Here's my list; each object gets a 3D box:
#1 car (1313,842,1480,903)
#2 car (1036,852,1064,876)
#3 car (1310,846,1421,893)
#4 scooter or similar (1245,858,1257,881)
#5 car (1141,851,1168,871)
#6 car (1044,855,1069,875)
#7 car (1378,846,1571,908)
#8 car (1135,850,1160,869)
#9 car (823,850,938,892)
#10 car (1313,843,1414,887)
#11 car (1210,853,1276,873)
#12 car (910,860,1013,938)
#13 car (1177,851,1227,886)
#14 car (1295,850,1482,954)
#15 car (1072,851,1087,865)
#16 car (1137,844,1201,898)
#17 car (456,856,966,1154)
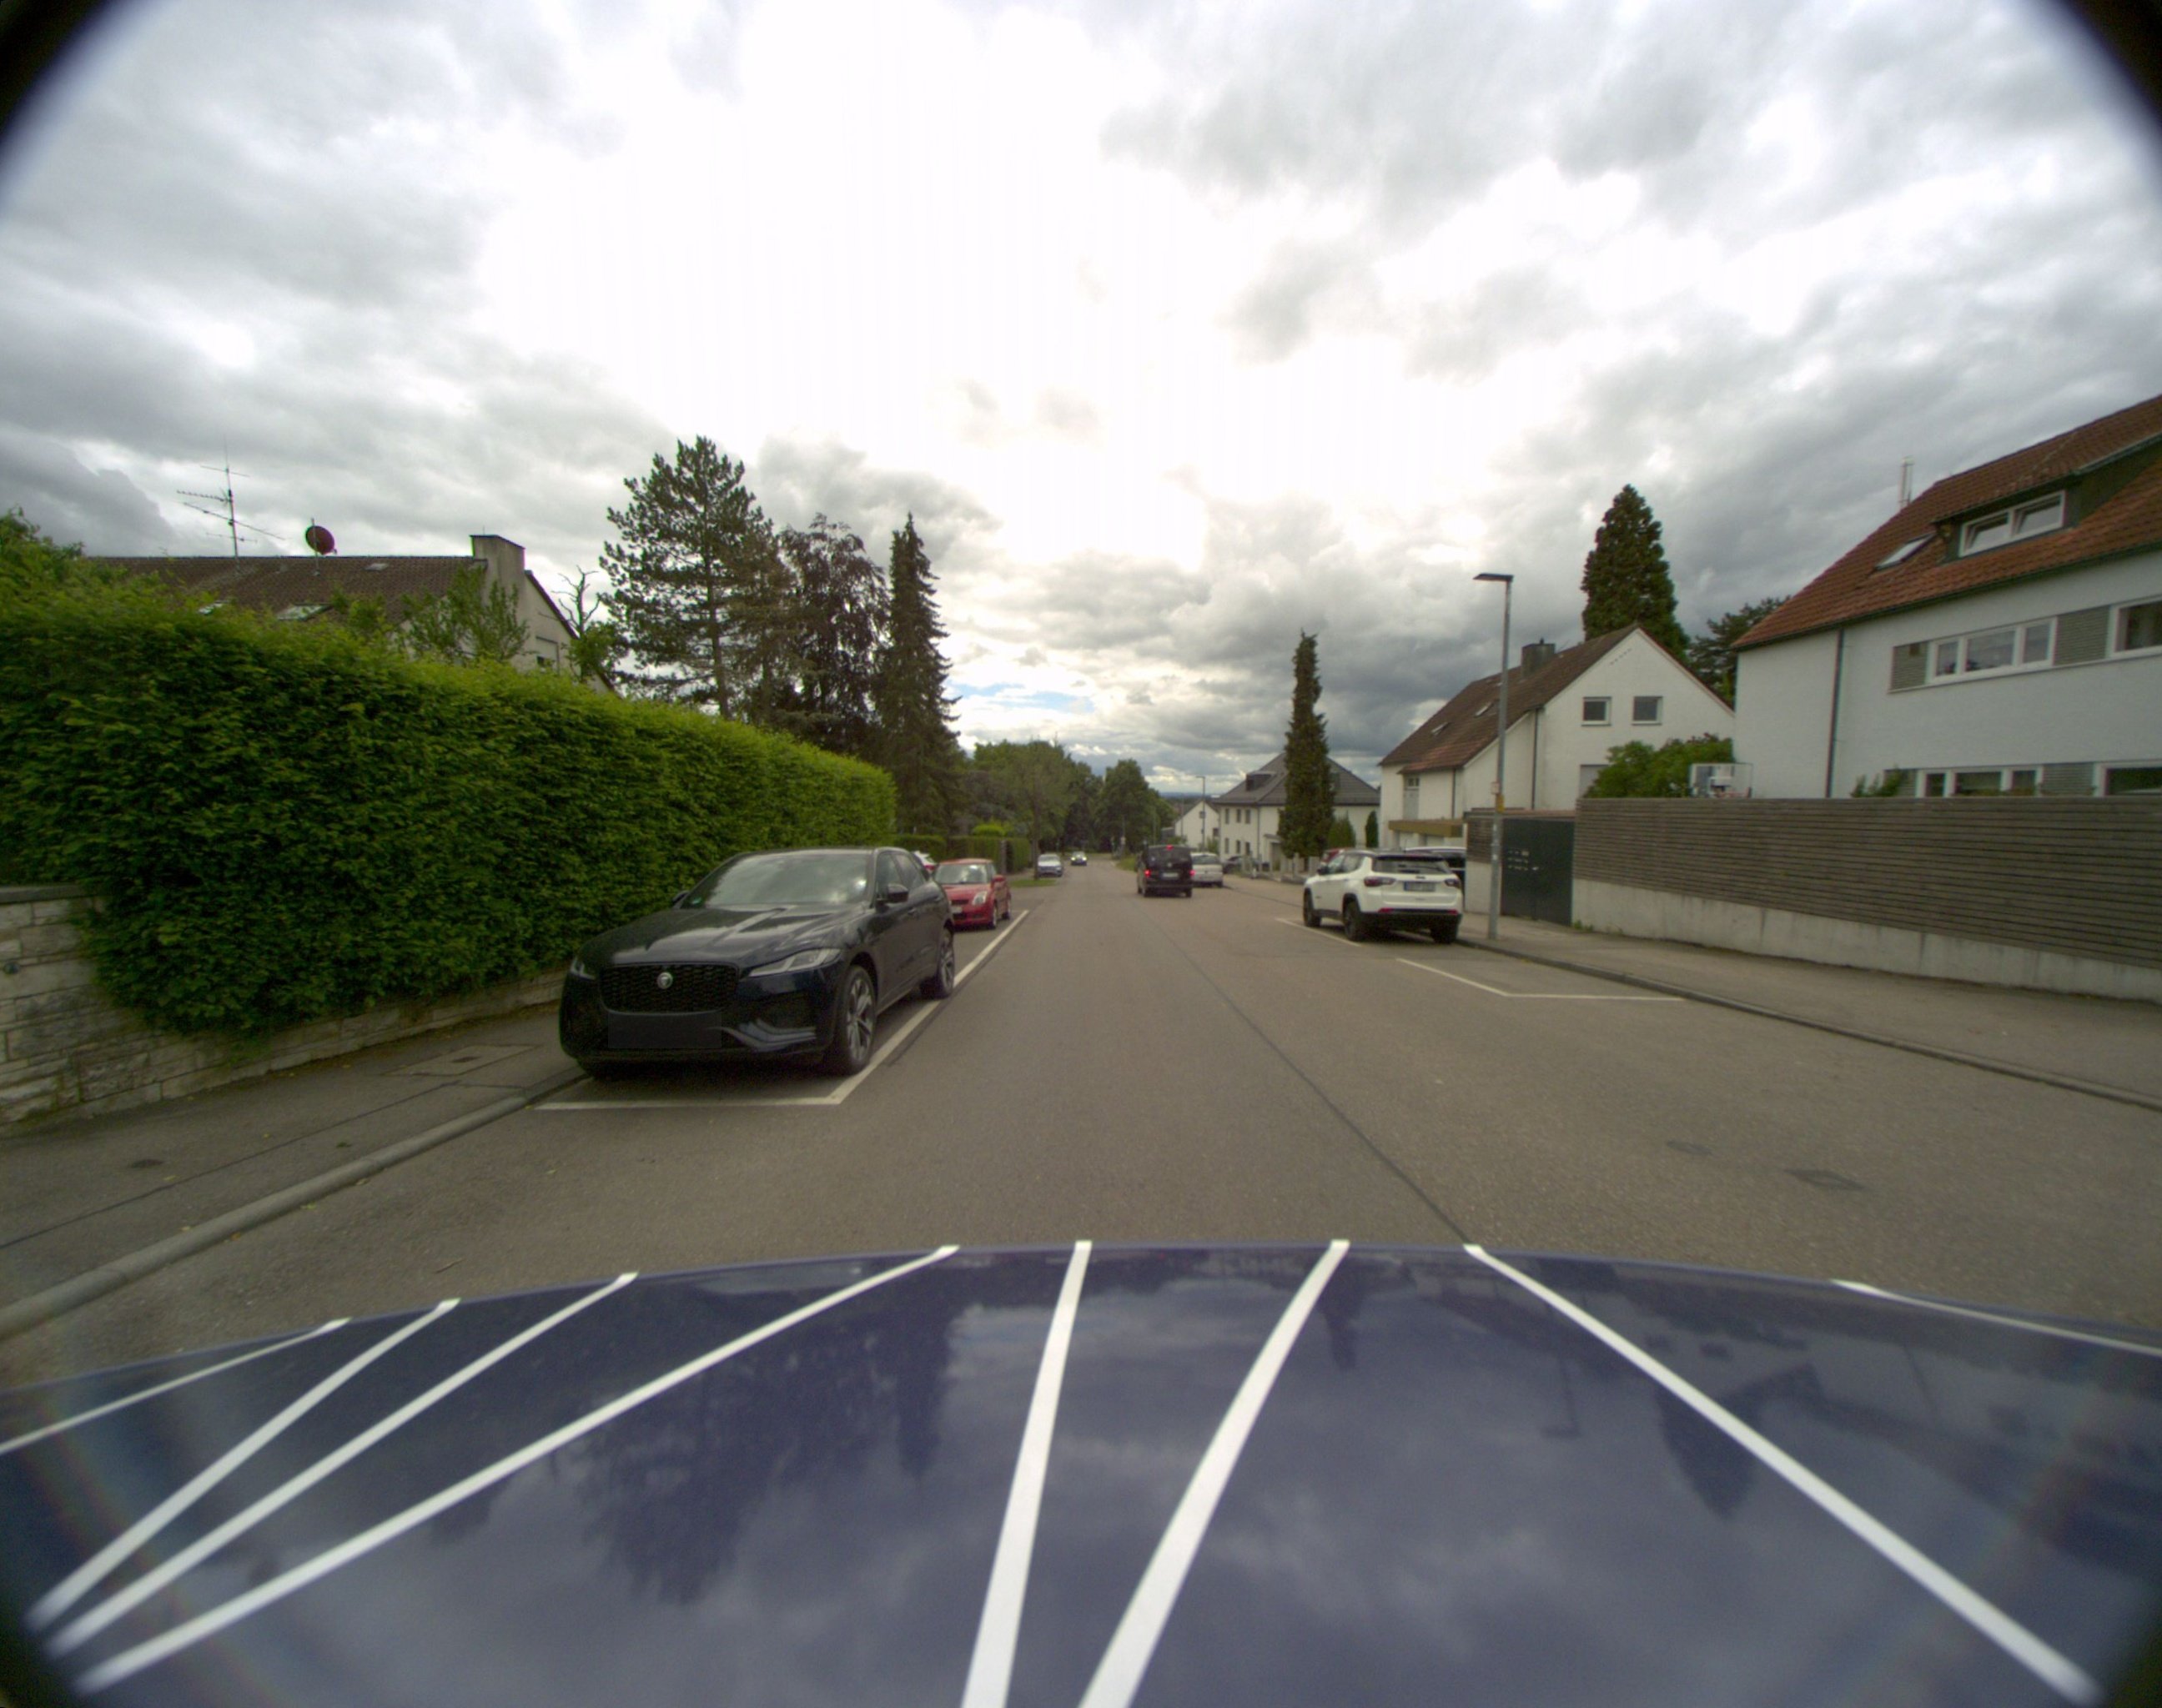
[{"bbox_3d":[9.875,0.564,24.018,4.423,1.619,1.910,-3,1,0],"label":"car"},{"bbox_3d":[-2.163,0.691,54.007,1.860,1.573,4.170,-1,1,-1],"label":"car"},{"bbox_3d":[10.431,0.536,28.021,3.437,1.504,1.692,-3,2,2],"label":"car"},{"bbox_3d":[9.248,0.836,41.285,0.475,1.142,1.456,-2,0,17],"label":"scooter or similar"},{"bbox_3d":[5.777,0.539,60.007,1.882,1.528,3.507,0,1,1],"label":"car"},{"bbox_3d":[-1.890,0.832,59.844,1.860,1.455,4.170,-1,1,-1],"label":"car"},{"bbox_3d":[10.594,0.591,20.747,4.306,1.602,1.854,0,1,5],"label":"car"},{"bbox_3d":[5.705,0.449,65.802,1.882,1.576,3.871,0,1,1],"label":"car"},{"bbox_3d":[-7.886,0.659,30.248,4.221,1.590,1.880,0,1,-8],"label":"car"},{"bbox_3d":[11.383,0.428,30.727,3.437,1.569,1.656,-3,2,2],"label":"car"},{"bbox_3d":[11.671,0.618,54.755,4.299,1.360,1.903,0,0,-5],"label":"car"},{"bbox_3d":[-2.537,0.901,16.967,1.665,1.499,3.758,0,0,1],"label":"car"},{"bbox_3d":[5.699,0.638,36.161,1.765,1.554,3.855,1,0,0],"label":"car"},{"bbox_3d":[5.596,0.761,14.511,1.842,1.657,4.408,1,0,1],"label":"car"},{"bbox_3d":[-0.191,0.404,85.425,1.569,1.504,3.396,-1,0,-1],"label":"car"},{"bbox_3d":[3.174,0.569,28.231,1.890,1.840,4.401,0,0,0],"label":"car"},{"bbox_3d":[-2.507,0.895,6.672,1.998,1.608,4.513,-2,1,3],"label":"car"}]
